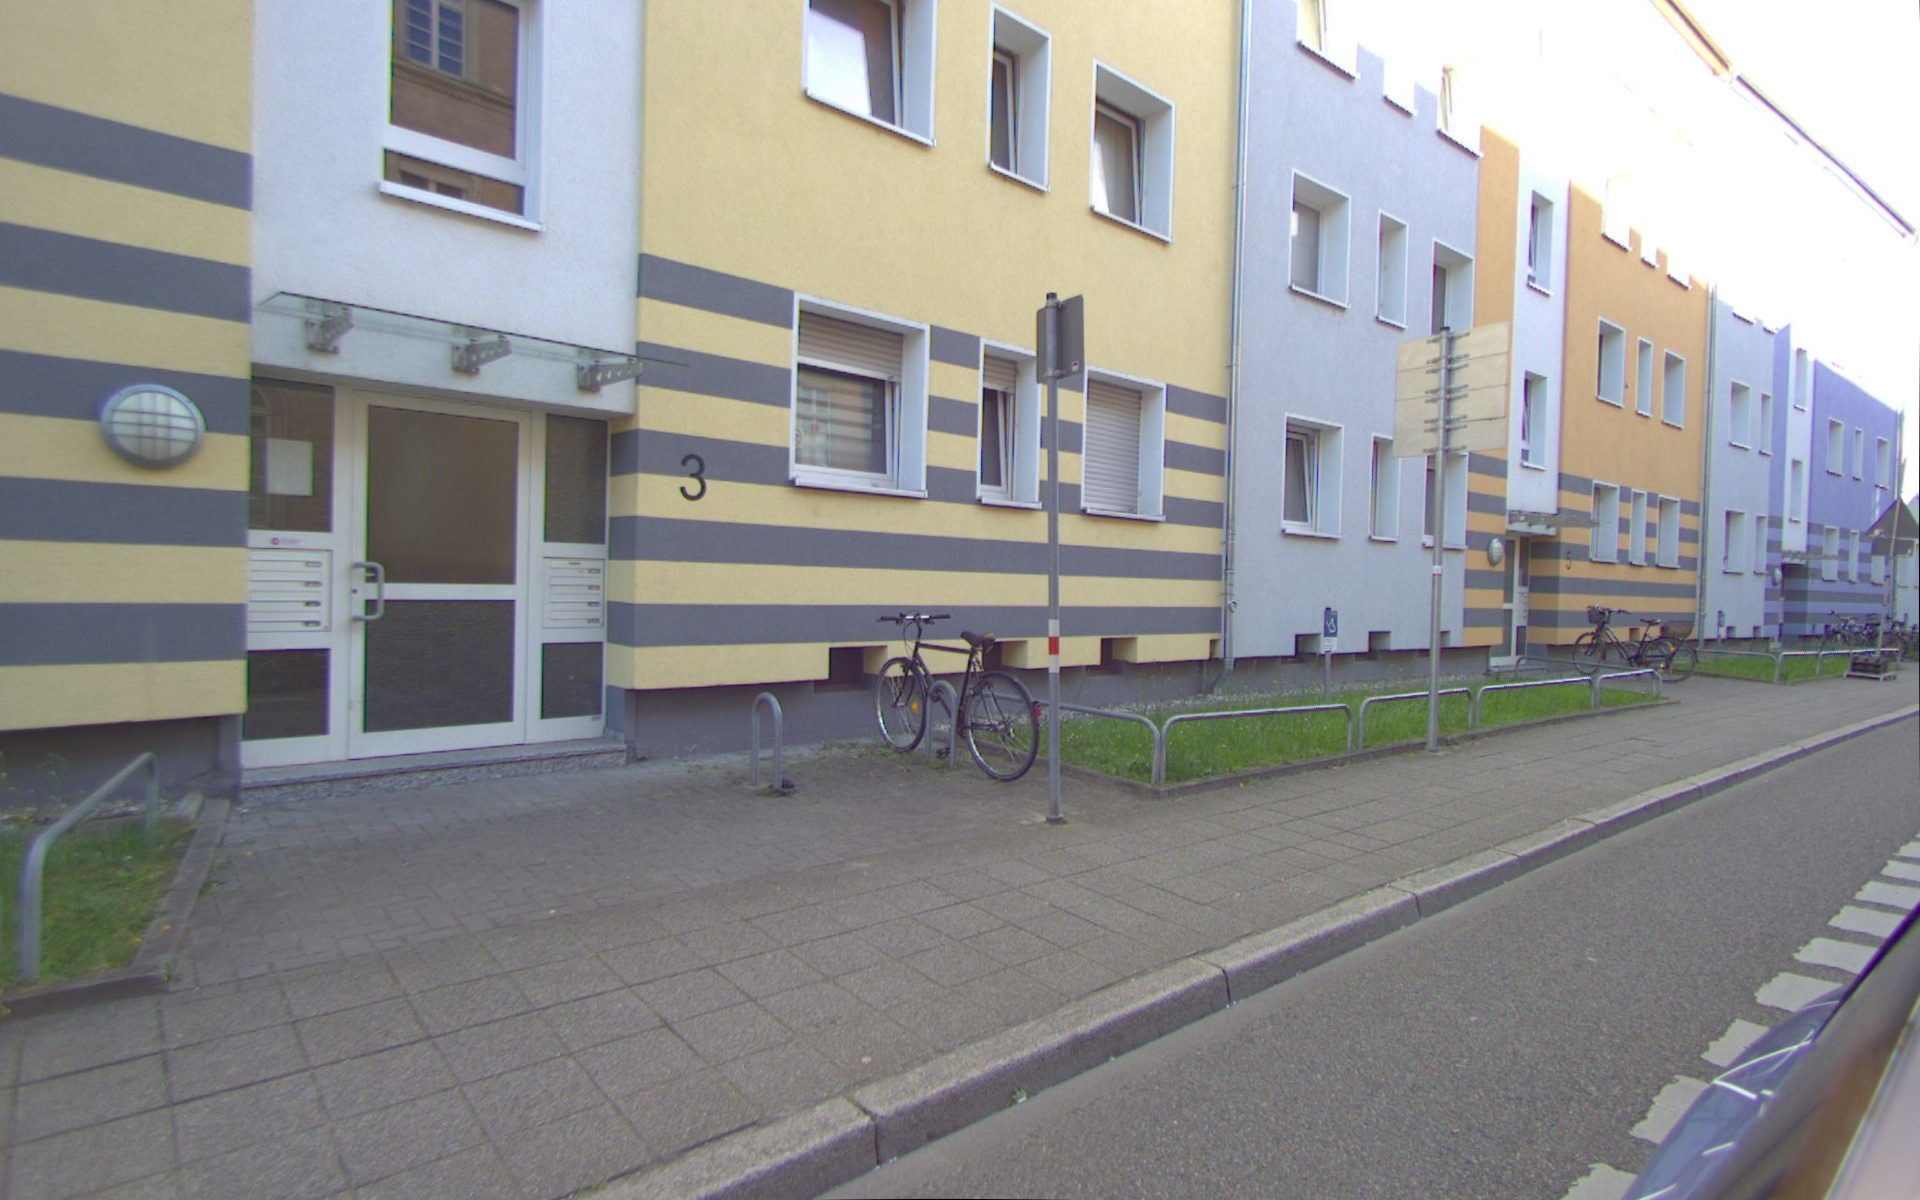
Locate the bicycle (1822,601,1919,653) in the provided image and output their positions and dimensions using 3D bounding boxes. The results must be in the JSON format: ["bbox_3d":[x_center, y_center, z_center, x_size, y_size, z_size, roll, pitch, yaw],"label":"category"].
[{"bbox_3d":[22.227,0.650,24.722,0.475,1.166,1.678,1,1,-37],"label":"bicycle"}]

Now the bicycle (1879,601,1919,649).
[{"bbox_3d":[24.136,0.644,25.270,0.475,1.166,1.678,1,1,-37],"label":"bicycle"}]

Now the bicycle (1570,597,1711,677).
[{"bbox_3d":[10.688,0.553,15.939,1.775,1.137,0.476,3,1,44],"label":"bicycle"}]

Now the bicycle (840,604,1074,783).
[{"bbox_3d":[-0.074,0.579,7.011,1.775,1.031,0.476,3,1,44],"label":"bicycle"}]

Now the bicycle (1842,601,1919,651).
[{"bbox_3d":[23.308,0.632,25.414,0.475,1.166,1.678,1,1,-37],"label":"bicycle"}]
